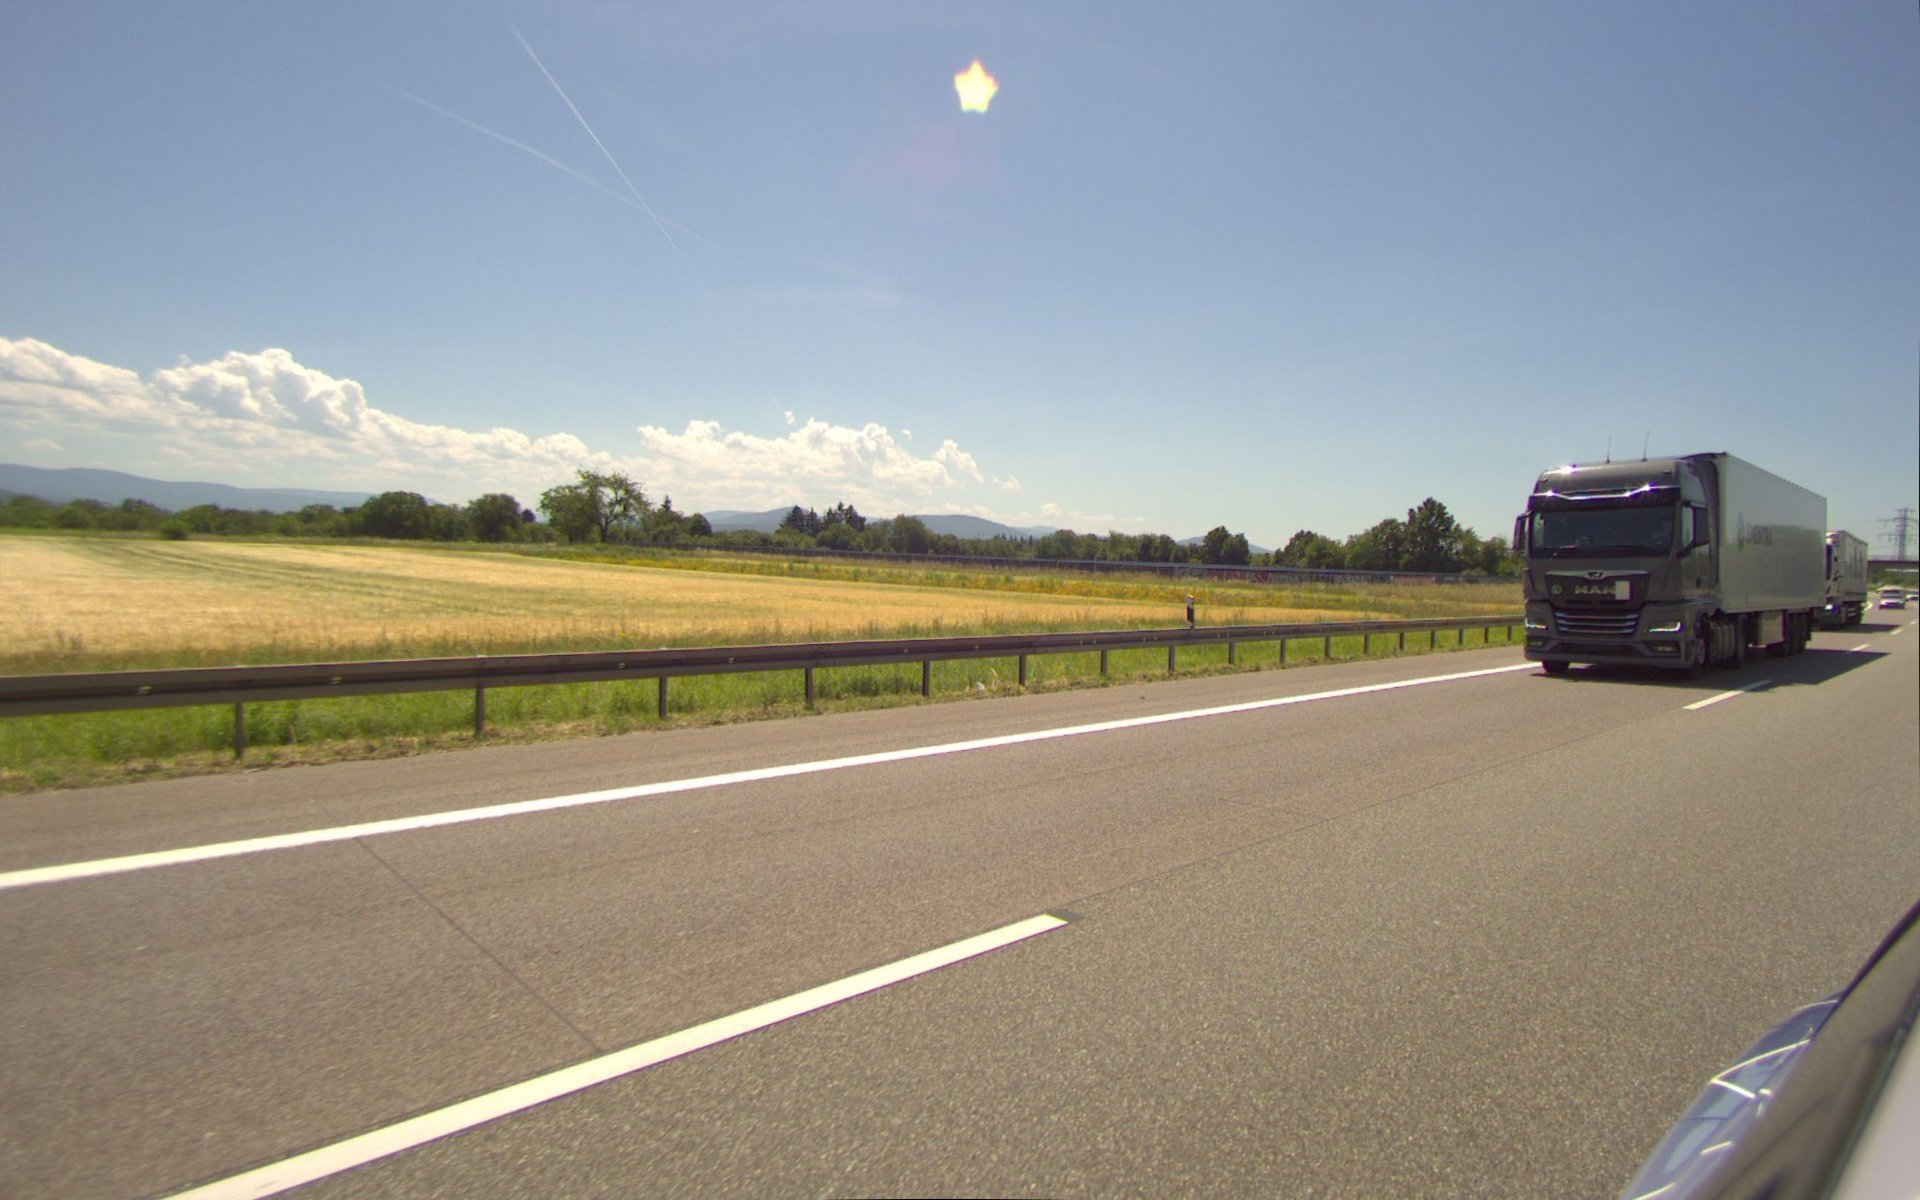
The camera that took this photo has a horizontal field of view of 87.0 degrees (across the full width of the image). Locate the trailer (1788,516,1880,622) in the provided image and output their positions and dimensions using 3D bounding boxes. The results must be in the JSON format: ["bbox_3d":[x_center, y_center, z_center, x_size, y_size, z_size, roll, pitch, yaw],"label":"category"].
[{"bbox_3d":[40.673,-1.401,46.876,2.596,4.304,13.427,1,2,44],"label":"trailer"}]

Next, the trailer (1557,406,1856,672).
[{"bbox_3d":[17.956,-1.169,23.641,13.746,4.715,2.905,-1,1,-42],"label":"trailer"}]

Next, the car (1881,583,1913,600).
[{"bbox_3d":[87.276,-0.847,94.278,1.776,1.494,3.945,2,3,38],"label":"car"}]

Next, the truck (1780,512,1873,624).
[{"bbox_3d":[35.588,-1.272,41.505,2.601,4.309,5.008,1,1,44],"label":"truck"}]

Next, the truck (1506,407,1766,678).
[{"bbox_3d":[12.649,-0.953,18.835,4.890,4.309,2.912,-1,1,-42],"label":"truck"}]

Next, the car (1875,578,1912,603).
[{"bbox_3d":[91.480,-0.976,99.189,2.178,2.294,4.884,2,2,38],"label":"car"}]
